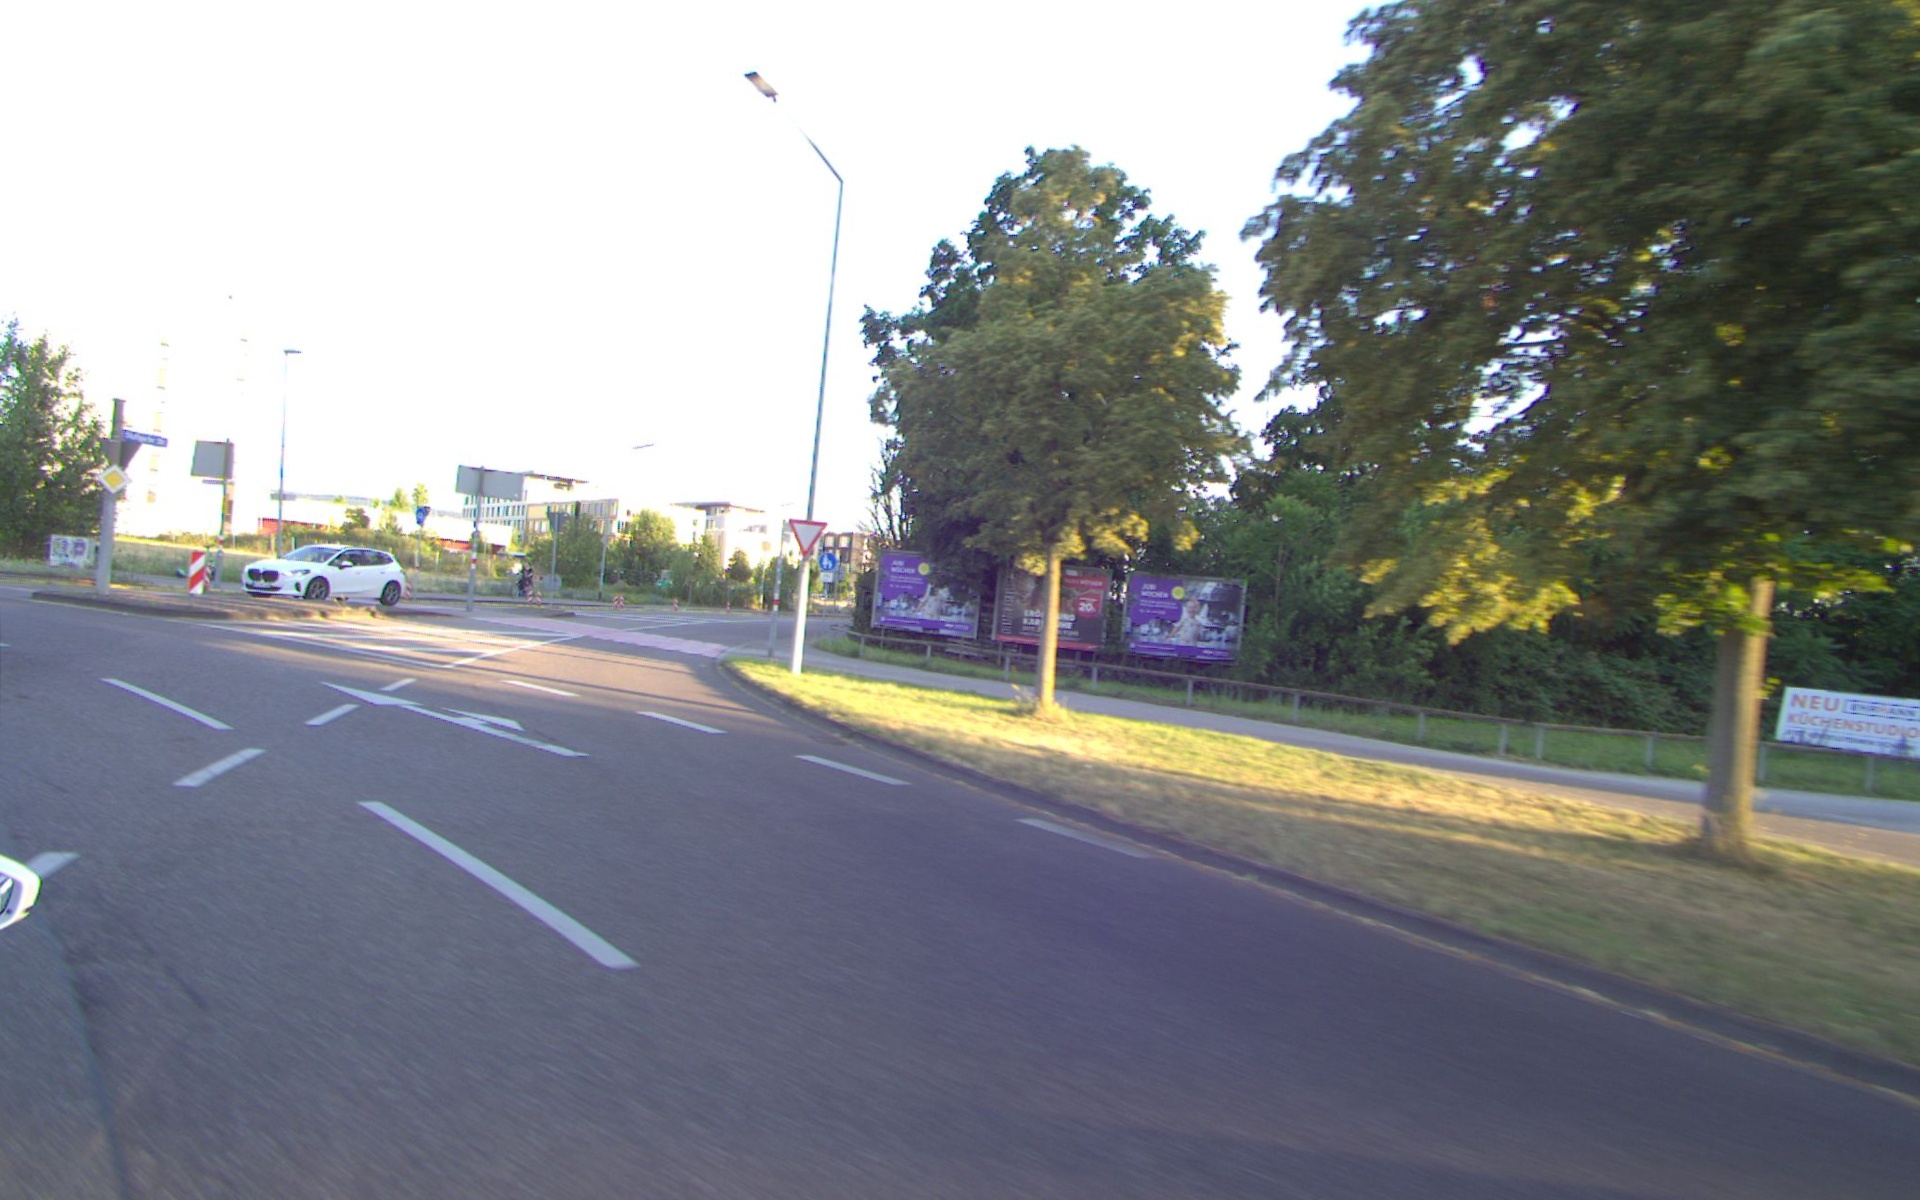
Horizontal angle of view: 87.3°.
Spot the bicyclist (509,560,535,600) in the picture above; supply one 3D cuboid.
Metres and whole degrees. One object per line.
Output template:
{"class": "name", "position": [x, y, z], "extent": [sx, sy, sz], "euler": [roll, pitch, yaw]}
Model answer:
{"class": "bicyclist", "position": [-20.600, -0.934, 47.297], "extent": [0.828, 1.765, 0.537], "euler": [6, 0, -2]}

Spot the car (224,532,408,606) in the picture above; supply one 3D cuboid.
{"class": "car", "position": [-17.160, -0.776, 27.086], "extent": [1.854, 1.577, 4.098], "euler": [5, -1, 8]}

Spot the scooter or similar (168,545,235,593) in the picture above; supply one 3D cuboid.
{"class": "scooter or similar", "position": [-20.928, -0.852, 27.775], "extent": [1.358, 1.177, 0.442], "euler": [6, 0, -5]}

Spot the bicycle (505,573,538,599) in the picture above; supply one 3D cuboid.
{"class": "bicycle", "position": [-20.648, -0.652, 47.355], "extent": [1.347, 1.102, 0.280], "euler": [6, 0, -1]}
